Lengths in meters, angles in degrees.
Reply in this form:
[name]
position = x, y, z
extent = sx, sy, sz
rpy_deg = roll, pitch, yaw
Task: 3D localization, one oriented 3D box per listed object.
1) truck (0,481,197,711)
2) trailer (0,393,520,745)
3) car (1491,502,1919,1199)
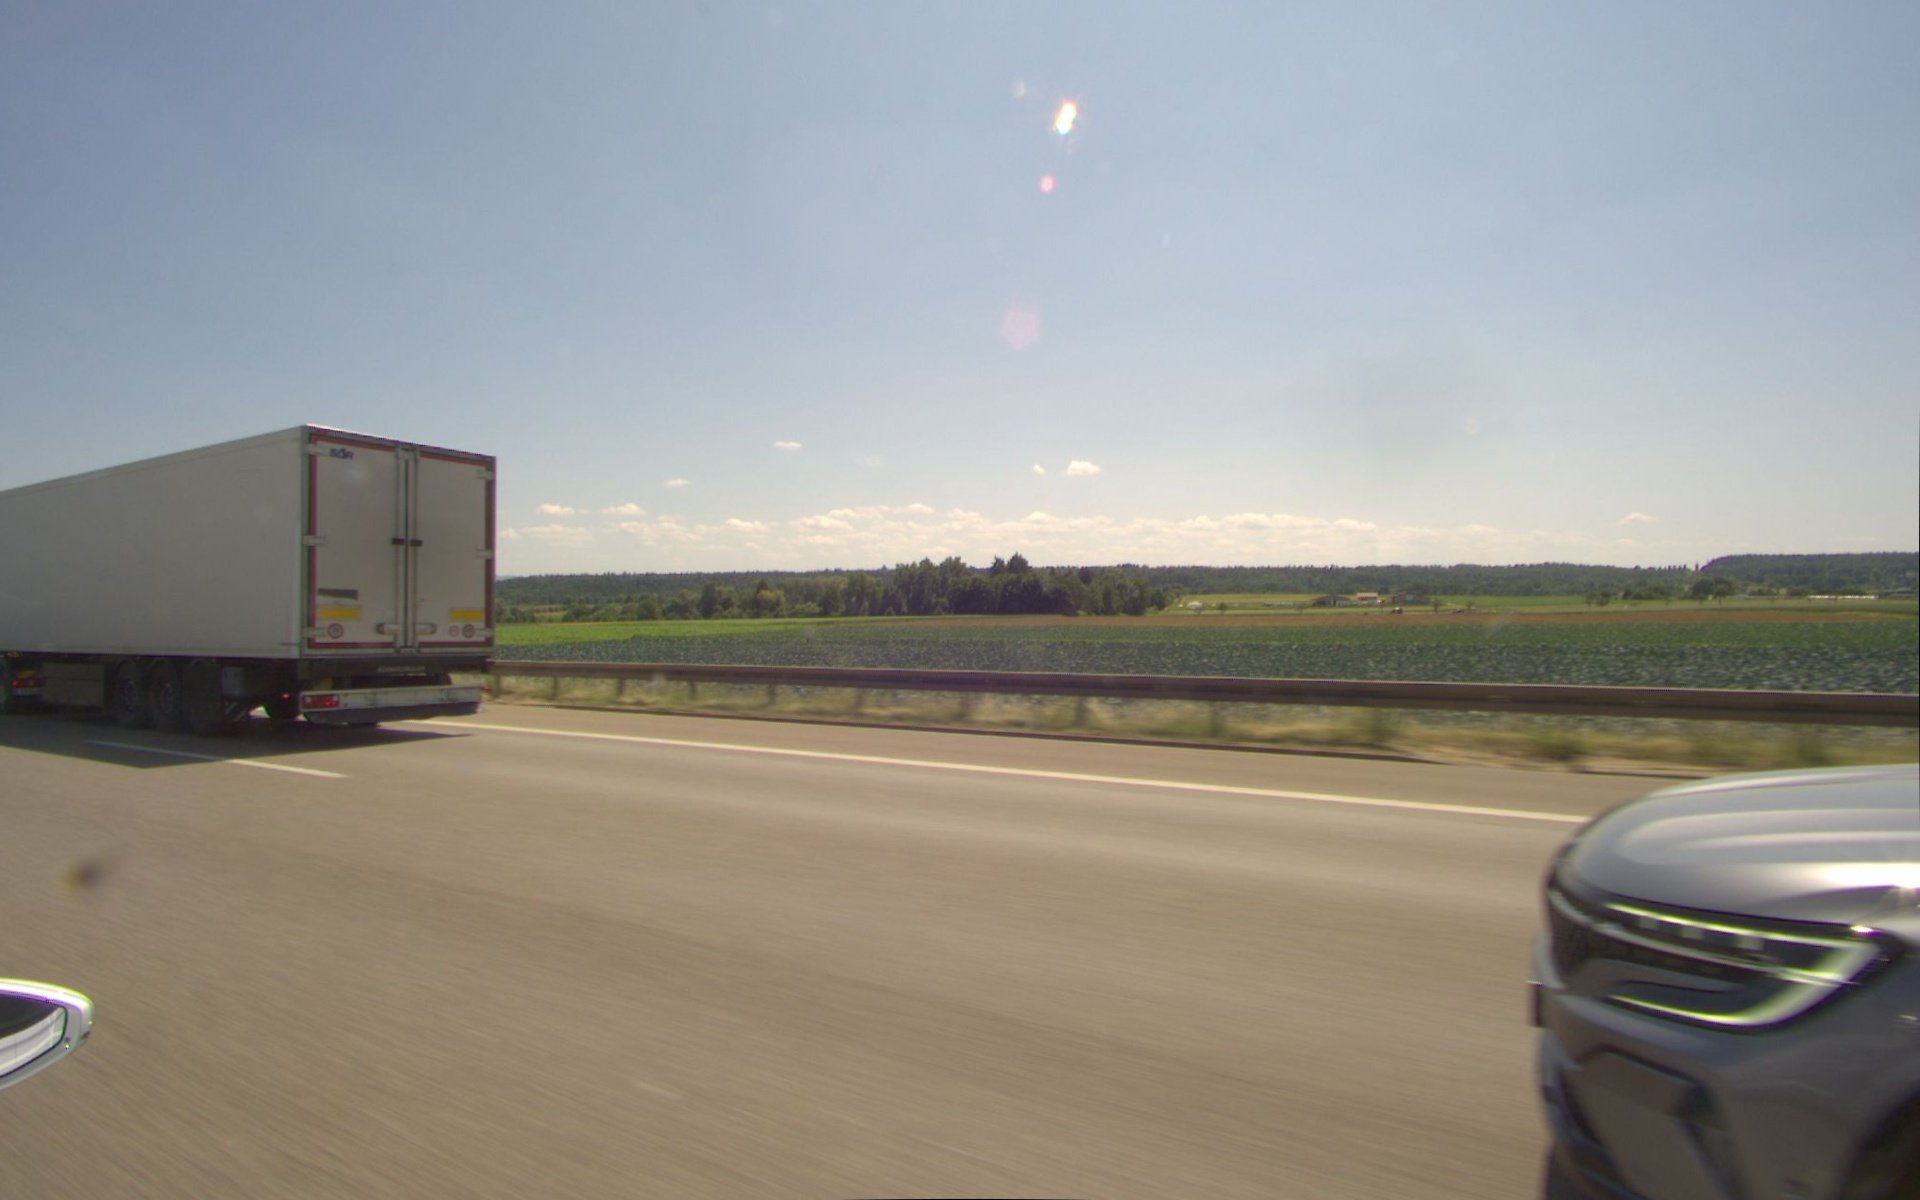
[truck]
position = -19.224, 0.058, 21.035
extent = 6.781, 4.143, 2.858
rpy_deg = -1, -2, 32
[trailer]
position = -12.697, -0.176, 16.885
extent = 13.106, 4.273, 2.863
rpy_deg = -2, -2, 33
[car]
position = 3.466, 0.673, 1.557
extent = 4.577, 1.670, 1.848
rpy_deg = -1, -1, 32
